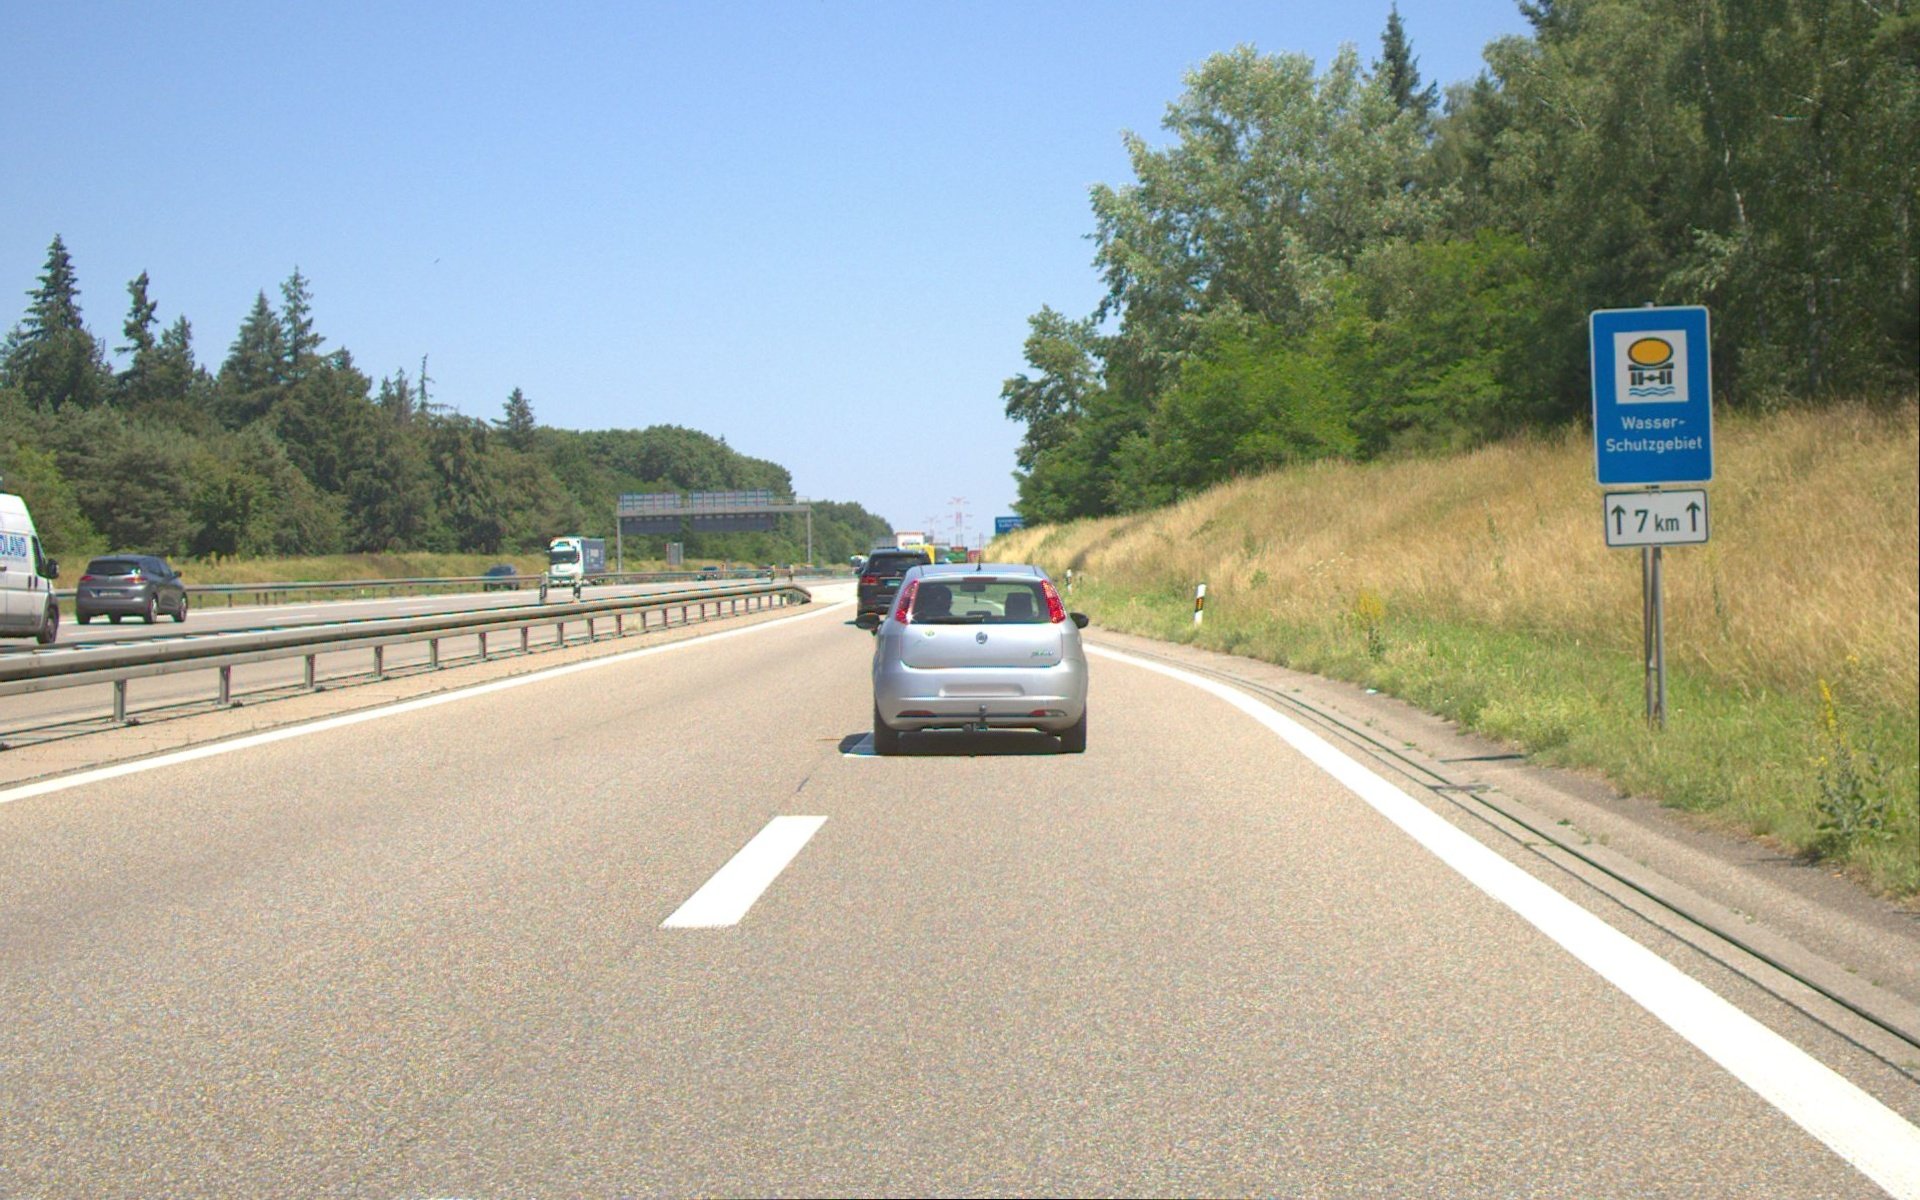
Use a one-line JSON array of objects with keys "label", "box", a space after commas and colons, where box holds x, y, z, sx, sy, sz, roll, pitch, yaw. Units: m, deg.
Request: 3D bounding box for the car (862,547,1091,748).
[{"label": "car", "box": [0.182, 0.337, 27.697, 1.706, 1.476, 3.398, -1, 1, 2]}]

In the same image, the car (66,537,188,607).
[{"label": "car", "box": [-19.965, -0.646, 82.566, 1.993, 1.612, 4.000, 0, 0, -1]}]

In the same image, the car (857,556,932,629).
[{"label": "car", "box": [-1.552, -0.157, 80.701, 1.706, 1.670, 3.398, -1, -1, -2]}]

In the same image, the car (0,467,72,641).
[{"label": "car", "box": [-17.253, -0.738, 58.577, 2.632, 2.887, 6.475, 0, 0, -1]}]
